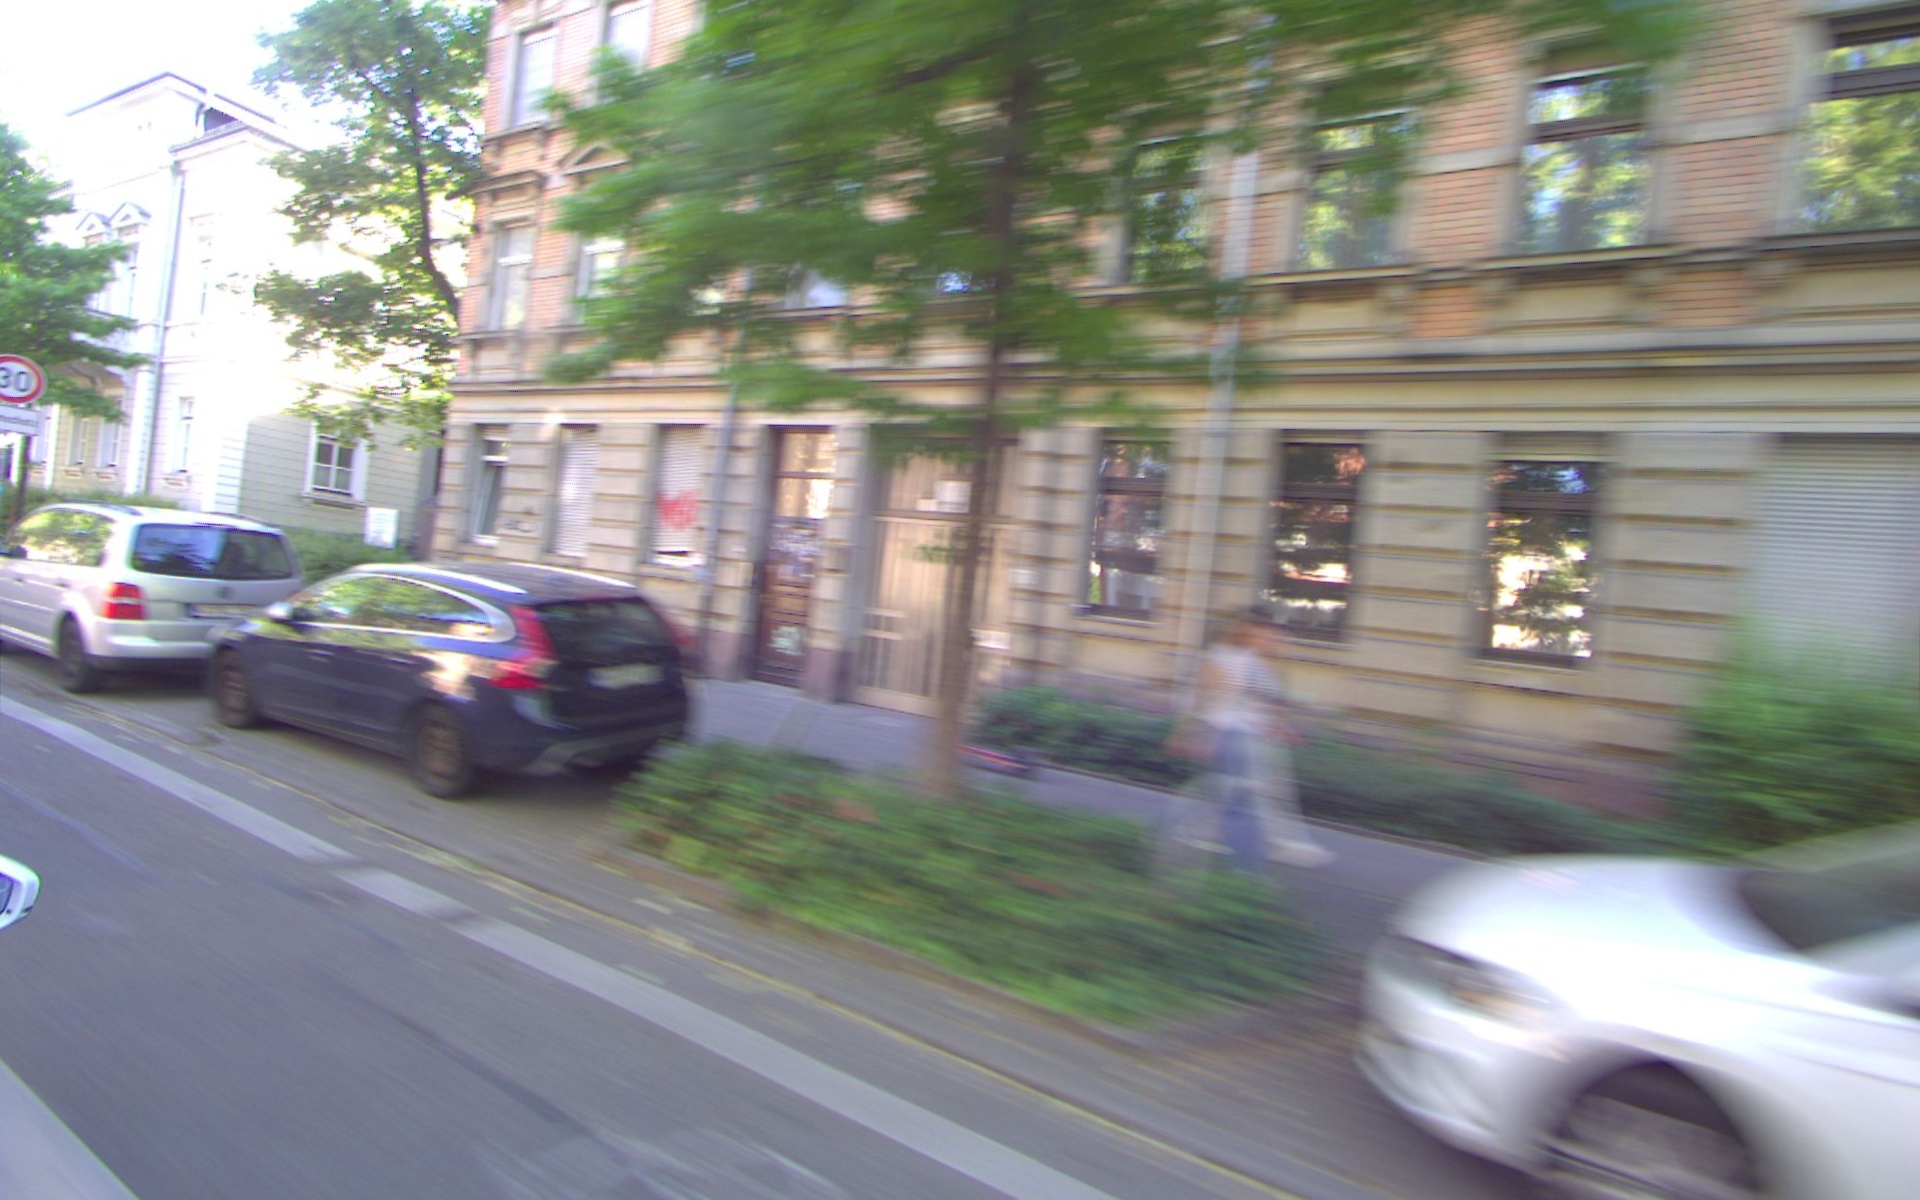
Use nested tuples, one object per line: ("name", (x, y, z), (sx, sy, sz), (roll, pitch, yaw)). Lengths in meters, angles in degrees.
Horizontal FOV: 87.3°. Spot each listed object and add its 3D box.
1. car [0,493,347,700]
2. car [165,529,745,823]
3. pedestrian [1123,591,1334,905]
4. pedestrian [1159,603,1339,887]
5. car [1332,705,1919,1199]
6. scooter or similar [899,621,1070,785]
("car", (-8.294, -0.132, 10.139), (4.172, 1.589, 1.884), (6, 2, 32))
("car", (-4.090, 0.408, 7.935), (4.516, 1.486, 1.885), (6, 2, 30))
("pedestrian", (1.686, 0.877, 6.289), (0.940, 1.713, 0.727), (7, -1, 29))
("pedestrian", (1.996, 0.954, 6.922), (0.842, 1.729, 0.727), (7, -1, 31))
("car", (3.435, 1.342, 2.900), (4.039, 1.386, 1.884), (6, 2, 32))
("scooter or similar", (0.213, 0.902, 9.108), (1.313, 1.261, 0.576), (7, 0, 33))
